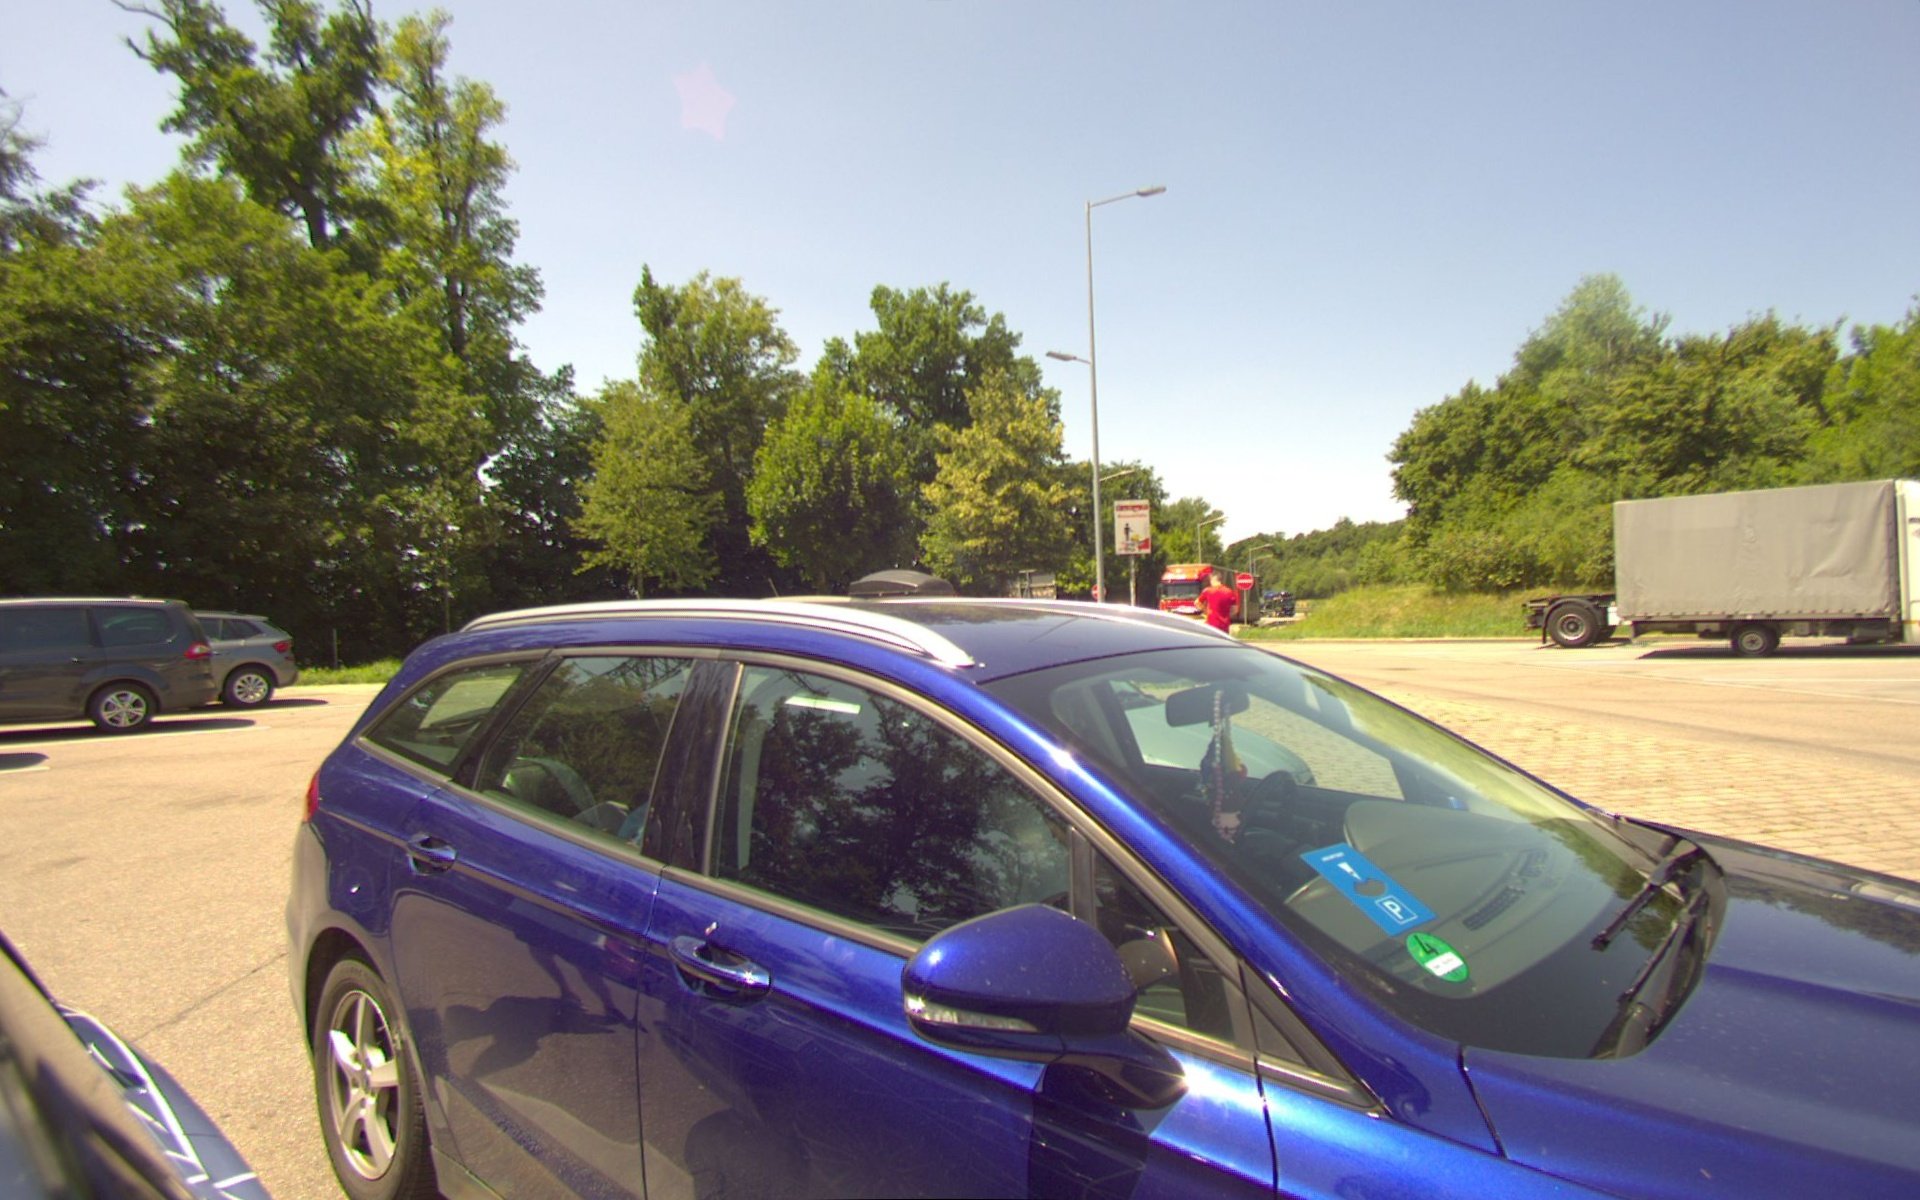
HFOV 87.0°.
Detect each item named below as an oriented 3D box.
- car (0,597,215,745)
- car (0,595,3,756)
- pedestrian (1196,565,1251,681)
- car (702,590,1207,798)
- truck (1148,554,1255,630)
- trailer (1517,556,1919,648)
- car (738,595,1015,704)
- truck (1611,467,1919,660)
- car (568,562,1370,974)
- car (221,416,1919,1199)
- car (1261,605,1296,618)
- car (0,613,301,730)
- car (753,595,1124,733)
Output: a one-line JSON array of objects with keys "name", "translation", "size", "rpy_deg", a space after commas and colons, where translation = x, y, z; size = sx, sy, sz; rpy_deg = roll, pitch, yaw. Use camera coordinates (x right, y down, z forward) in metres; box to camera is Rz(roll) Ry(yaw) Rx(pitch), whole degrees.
[{"name": "car", "translation": [-11.939, 0.851, 12.297], "size": [4.553, 1.725, 1.741], "rpy_deg": [0, -1, -41]}, {"name": "car", "translation": [-11.619, 0.808, 8.892], "size": [4.544, 1.725, 2.003], "rpy_deg": [0, 0, -40]}, {"name": "pedestrian", "translation": [4.132, 0.355, 15.850], "size": [0.672, 1.746, 0.827], "rpy_deg": [-1, -1, 25]}, {"name": "car", "translation": [-0.241, 0.743, 9.207], "size": [4.490, 1.437, 1.754], "rpy_deg": [-3, -1, 40]}, {"name": "truck", "translation": [15.368, -0.481, 63.026], "size": [3.117, 4.150, 15.262], "rpy_deg": [-1, 0, 26]}, {"name": "trailer", "translation": [17.257, 0.123, 23.389], "size": [7.295, 1.701, 2.235], "rpy_deg": [-4, -1, 43]}, {"name": "car", "translation": [-1.474, 0.820, 16.854], "size": [4.485, 1.562, 1.756], "rpy_deg": [-3, -1, 36]}, {"name": "truck", "translation": [16.831, -0.658, 18.961], "size": [7.295, 3.259, 2.709], "rpy_deg": [-4, -1, 43]}, {"name": "car", "translation": [-0.254, 0.688, 5.833], "size": [4.490, 1.511, 1.754], "rpy_deg": [-3, -1, 40]}, {"name": "car", "translation": [0.258, 0.655, 2.134], "size": [4.490, 1.502, 1.851], "rpy_deg": [-3, 0, 40]}, {"name": "car", "translation": [48.927, 1.738, 155.679], "size": [2.396, 1.820, 8.007], "rpy_deg": [-1, 0, -3]}, {"name": "car", "translation": [-12.593, 0.996, 15.461], "size": [1.687, 1.515, 3.943], "rpy_deg": [-1, 0, 43]}, {"name": "car", "translation": [-0.382, 0.769, 12.754], "size": [4.485, 1.437, 1.756], "rpy_deg": [-3, -1, 36]}]
